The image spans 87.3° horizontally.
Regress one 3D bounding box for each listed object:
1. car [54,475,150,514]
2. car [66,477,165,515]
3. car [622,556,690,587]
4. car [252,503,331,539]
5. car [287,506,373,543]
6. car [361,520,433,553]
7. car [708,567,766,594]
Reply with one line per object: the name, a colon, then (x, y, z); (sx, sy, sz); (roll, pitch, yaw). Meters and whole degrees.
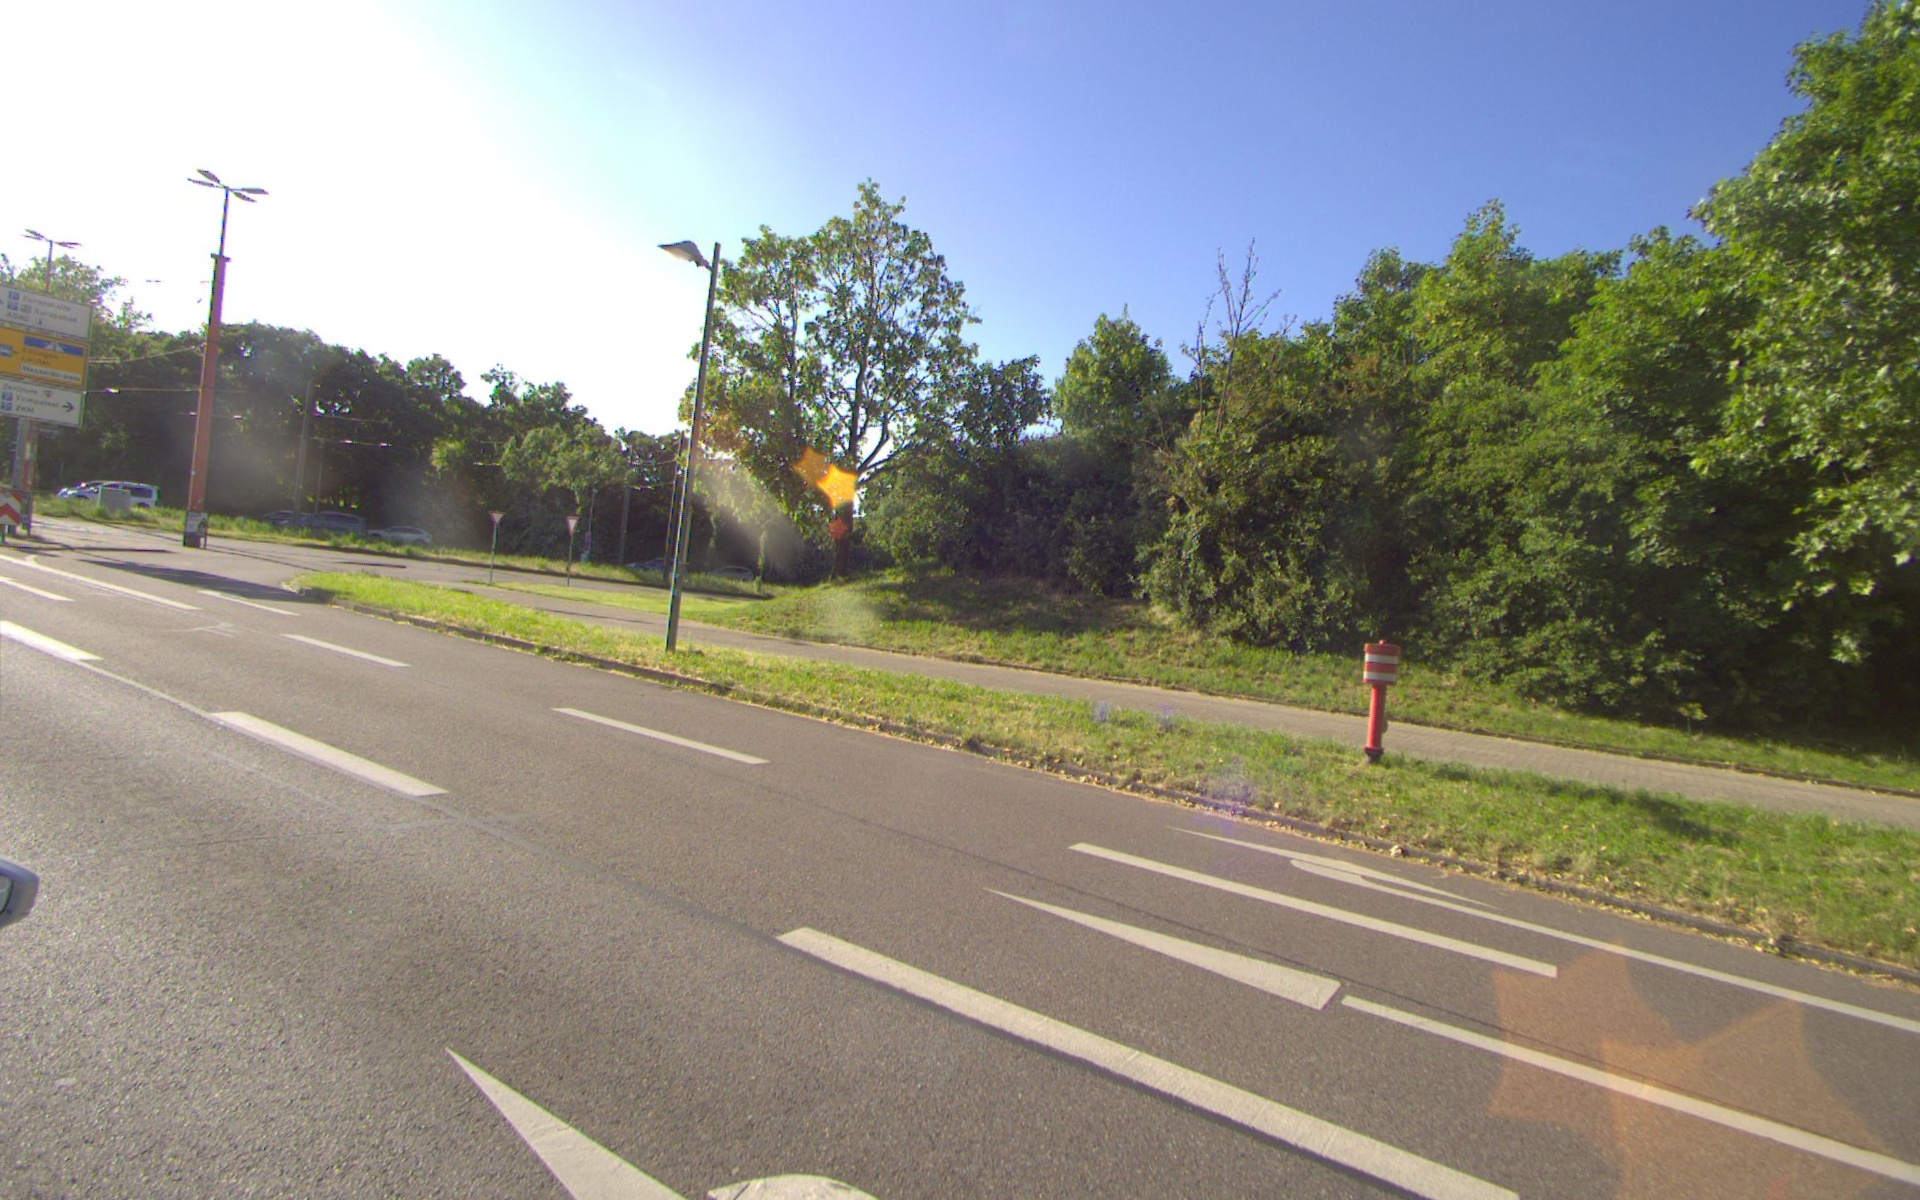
car: (-50.265, -6.173, 59.031); (3.961, 1.493, 1.774); (8, -1, -32)
car: (-47.708, -5.858, 56.920); (3.960, 1.353, 1.715); (8, -1, -32)
car: (-22.062, -2.089, 72.995); (4.230, 1.646, 1.913); (8, -1, -31)
car: (-42.323, -4.973, 63.783); (3.960, 1.579, 1.884); (8, -1, -32)
car: (-38.938, -4.639, 62.270); (4.323, 1.577, 1.856); (8, -1, -33)
car: (-37.335, -4.193, 66.733); (3.959, 1.513, 1.846); (8, -1, -31)
car: (-17.655, -1.507, 79.625); (3.959, 1.546, 1.845); (8, -1, -31)
